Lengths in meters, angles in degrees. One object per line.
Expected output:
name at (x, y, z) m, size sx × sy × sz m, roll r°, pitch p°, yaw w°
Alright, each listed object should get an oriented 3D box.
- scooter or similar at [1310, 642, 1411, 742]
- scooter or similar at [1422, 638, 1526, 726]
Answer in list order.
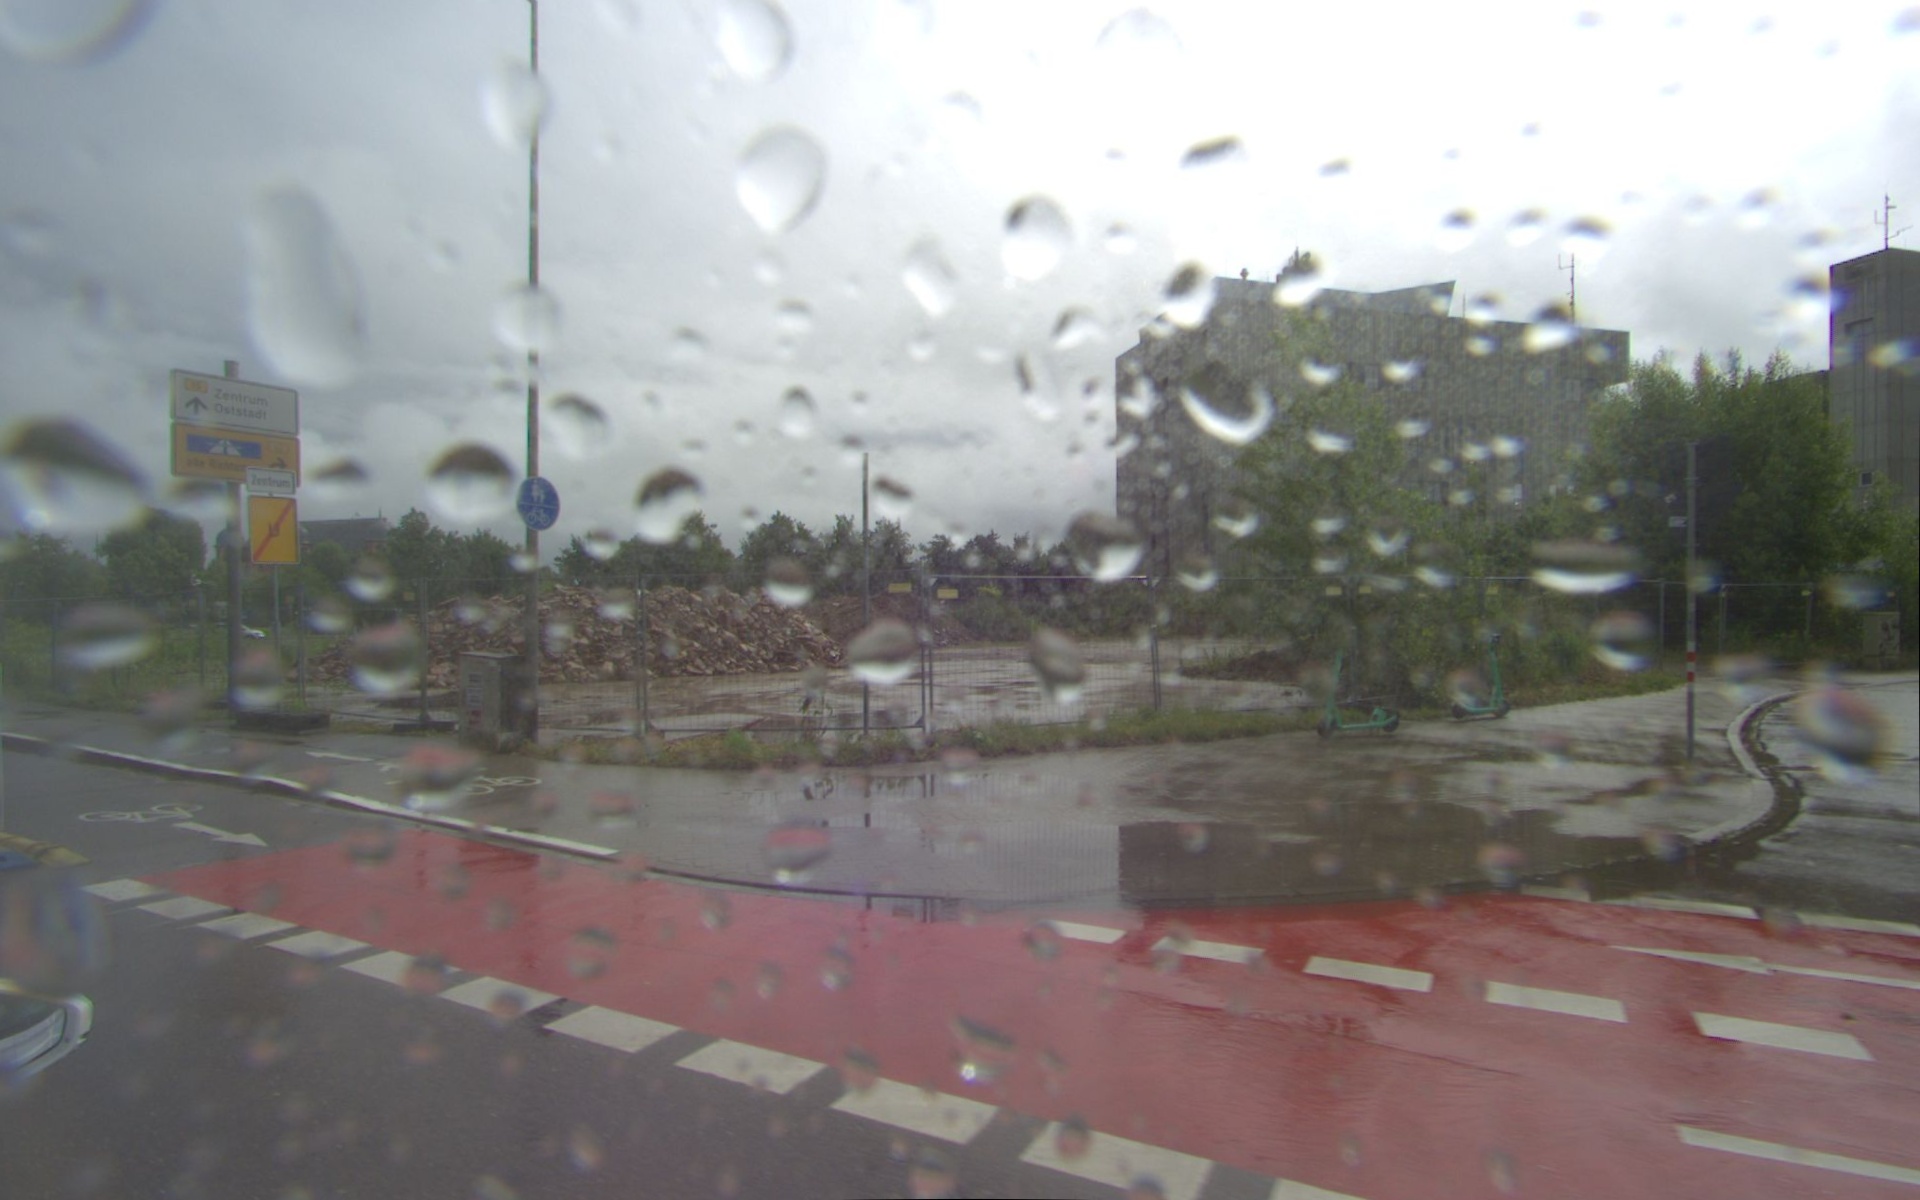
scooter or similar at (4.991, 1.122, 12.473) m, size 1.175 × 1.165 × 0.481 m, roll 0°, pitch 0°, yaw -24°
scooter or similar at (7.262, 1.133, 14.157) m, size 1.176 × 1.165 × 0.744 m, roll 0°, pitch 0°, yaw -24°
